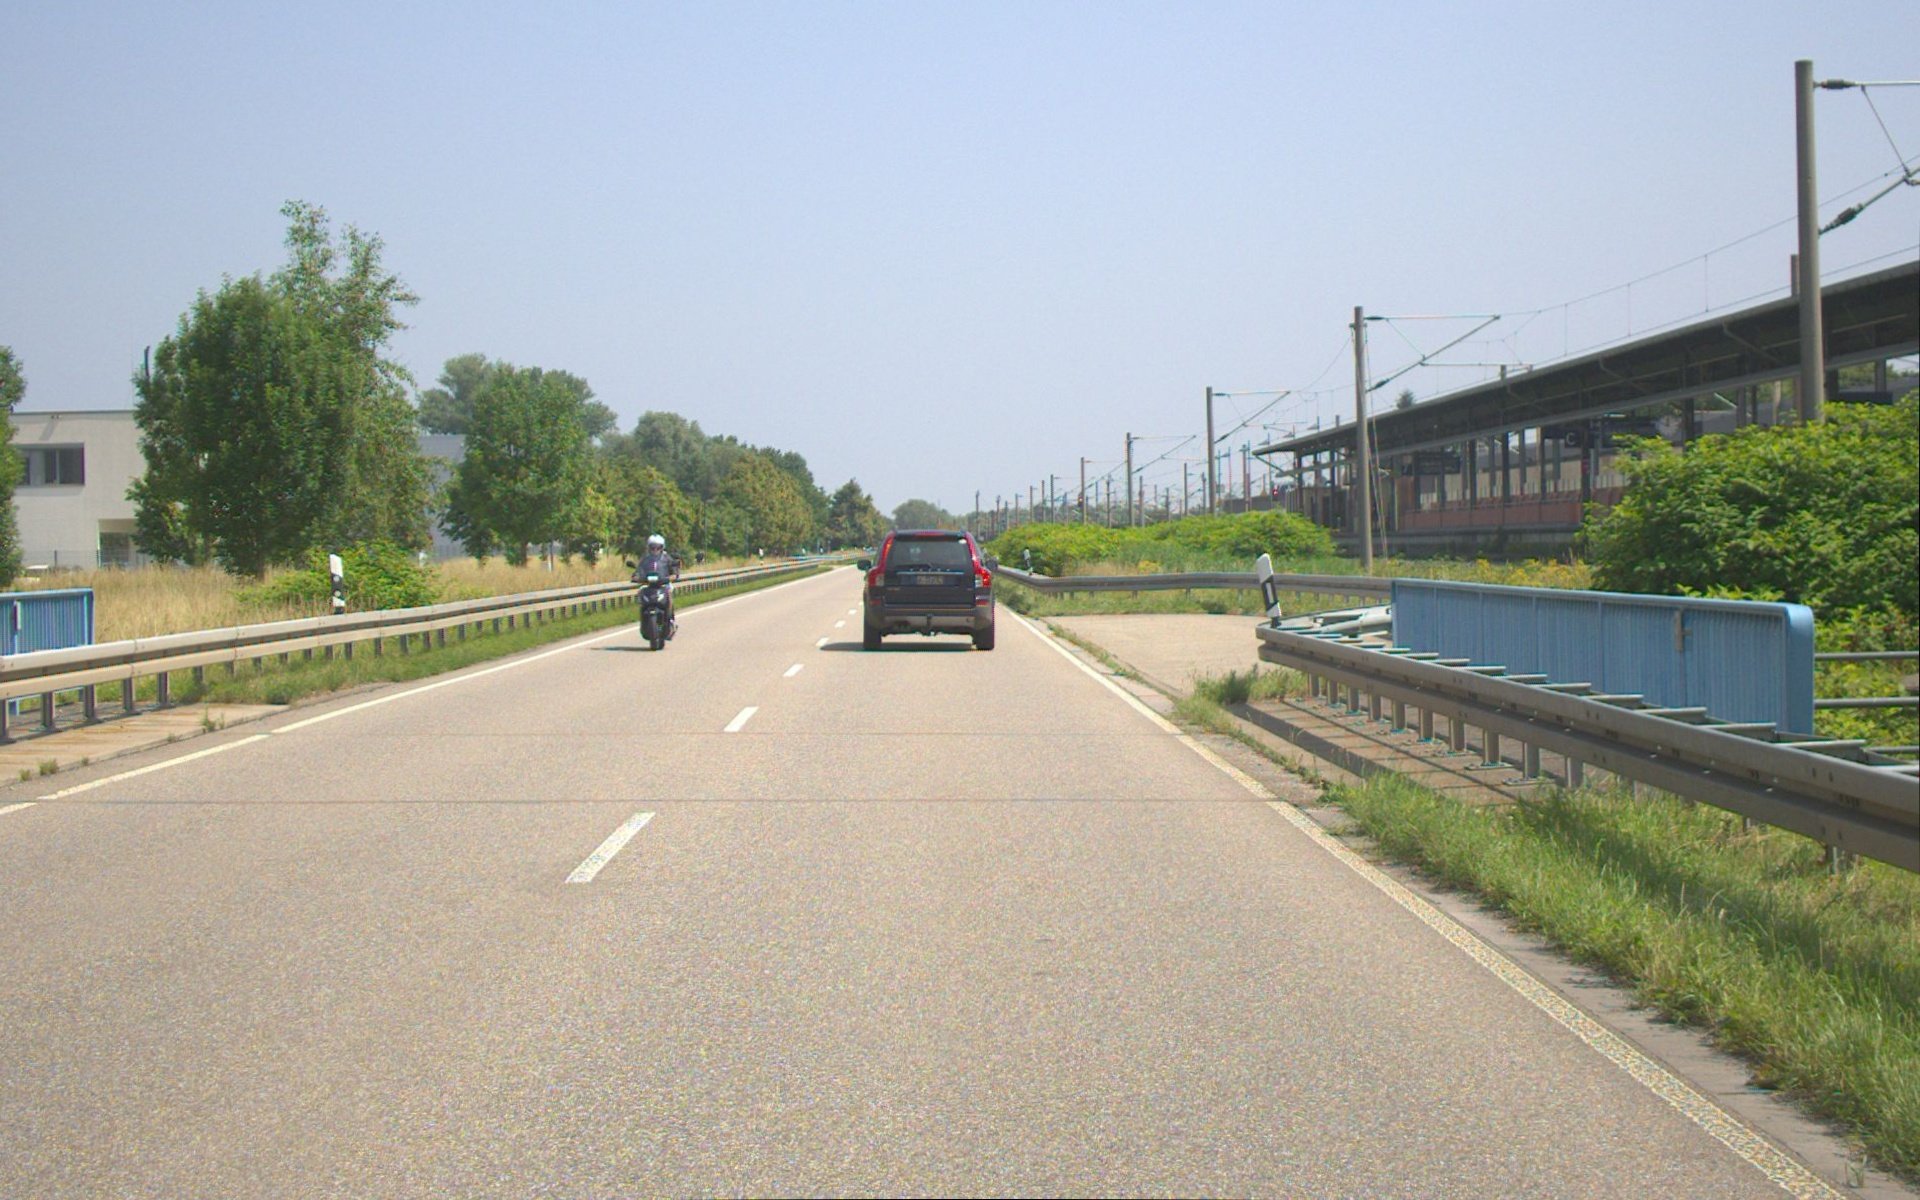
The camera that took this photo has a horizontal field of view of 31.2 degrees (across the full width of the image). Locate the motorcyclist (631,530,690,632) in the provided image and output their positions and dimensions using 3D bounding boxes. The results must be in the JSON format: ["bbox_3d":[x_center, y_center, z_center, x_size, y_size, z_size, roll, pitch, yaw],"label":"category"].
[{"bbox_3d":[-4.292,-0.278,49.363,0.726,1.460,0.987,0,1,2],"label":"motorcyclist"}]

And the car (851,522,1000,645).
[{"bbox_3d":[-0.537,-0.267,50.001,1.993,1.694,4.001,0,1,-3],"label":"car"}]

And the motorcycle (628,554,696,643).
[{"bbox_3d":[-4.269,-0.035,49.335,0.689,1.230,2.369,0,1,2],"label":"motorcycle"}]
